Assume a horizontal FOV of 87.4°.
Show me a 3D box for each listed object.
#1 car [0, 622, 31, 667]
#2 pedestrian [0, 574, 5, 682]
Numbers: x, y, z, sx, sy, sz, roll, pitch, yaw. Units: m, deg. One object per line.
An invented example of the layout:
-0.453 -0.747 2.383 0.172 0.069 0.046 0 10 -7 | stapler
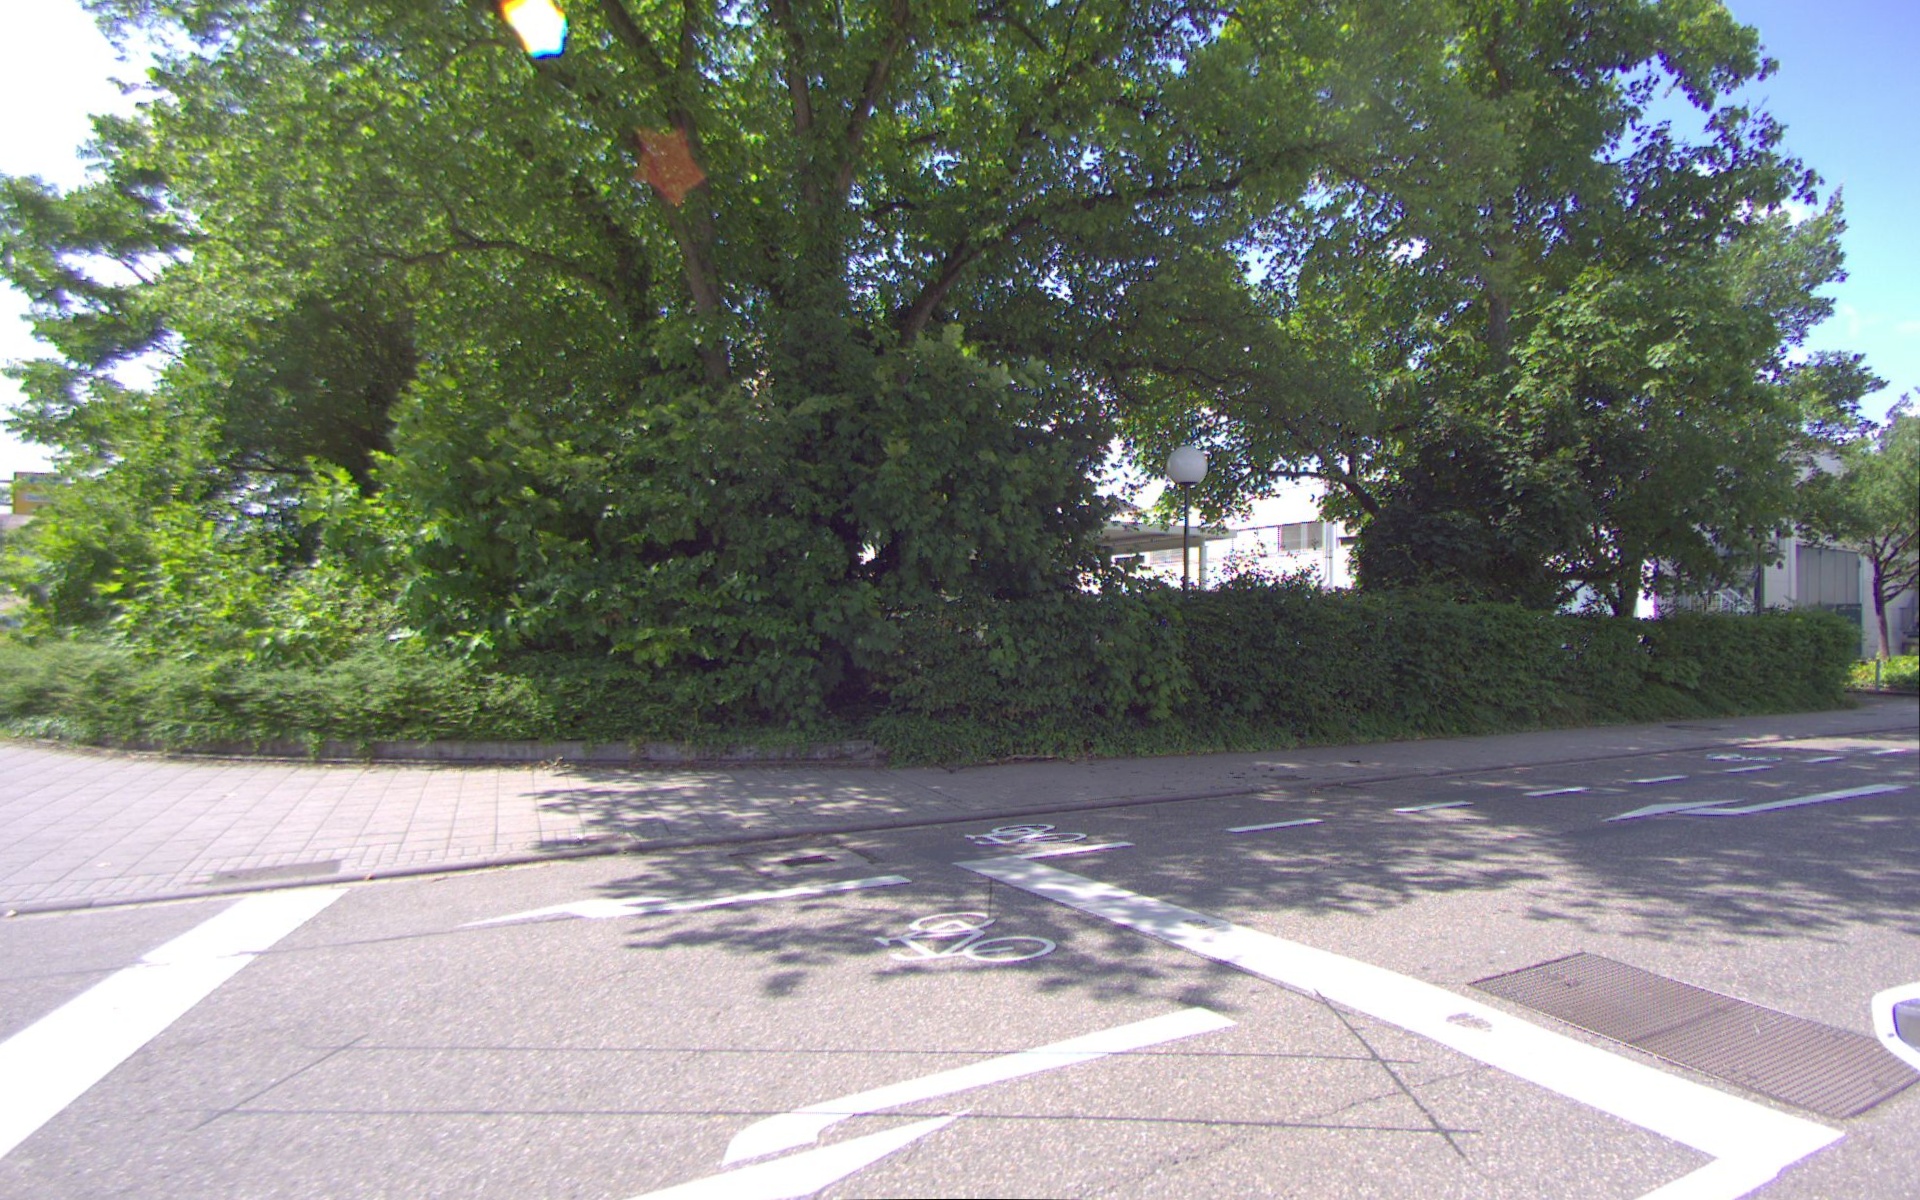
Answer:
-36.952 1.655 37.687 1.809 1.622 4.365 3 -2 -26 | car
-15.512 0.499 15.710 0.666 1.845 0.696 2 -1 -35 | pedestrian
